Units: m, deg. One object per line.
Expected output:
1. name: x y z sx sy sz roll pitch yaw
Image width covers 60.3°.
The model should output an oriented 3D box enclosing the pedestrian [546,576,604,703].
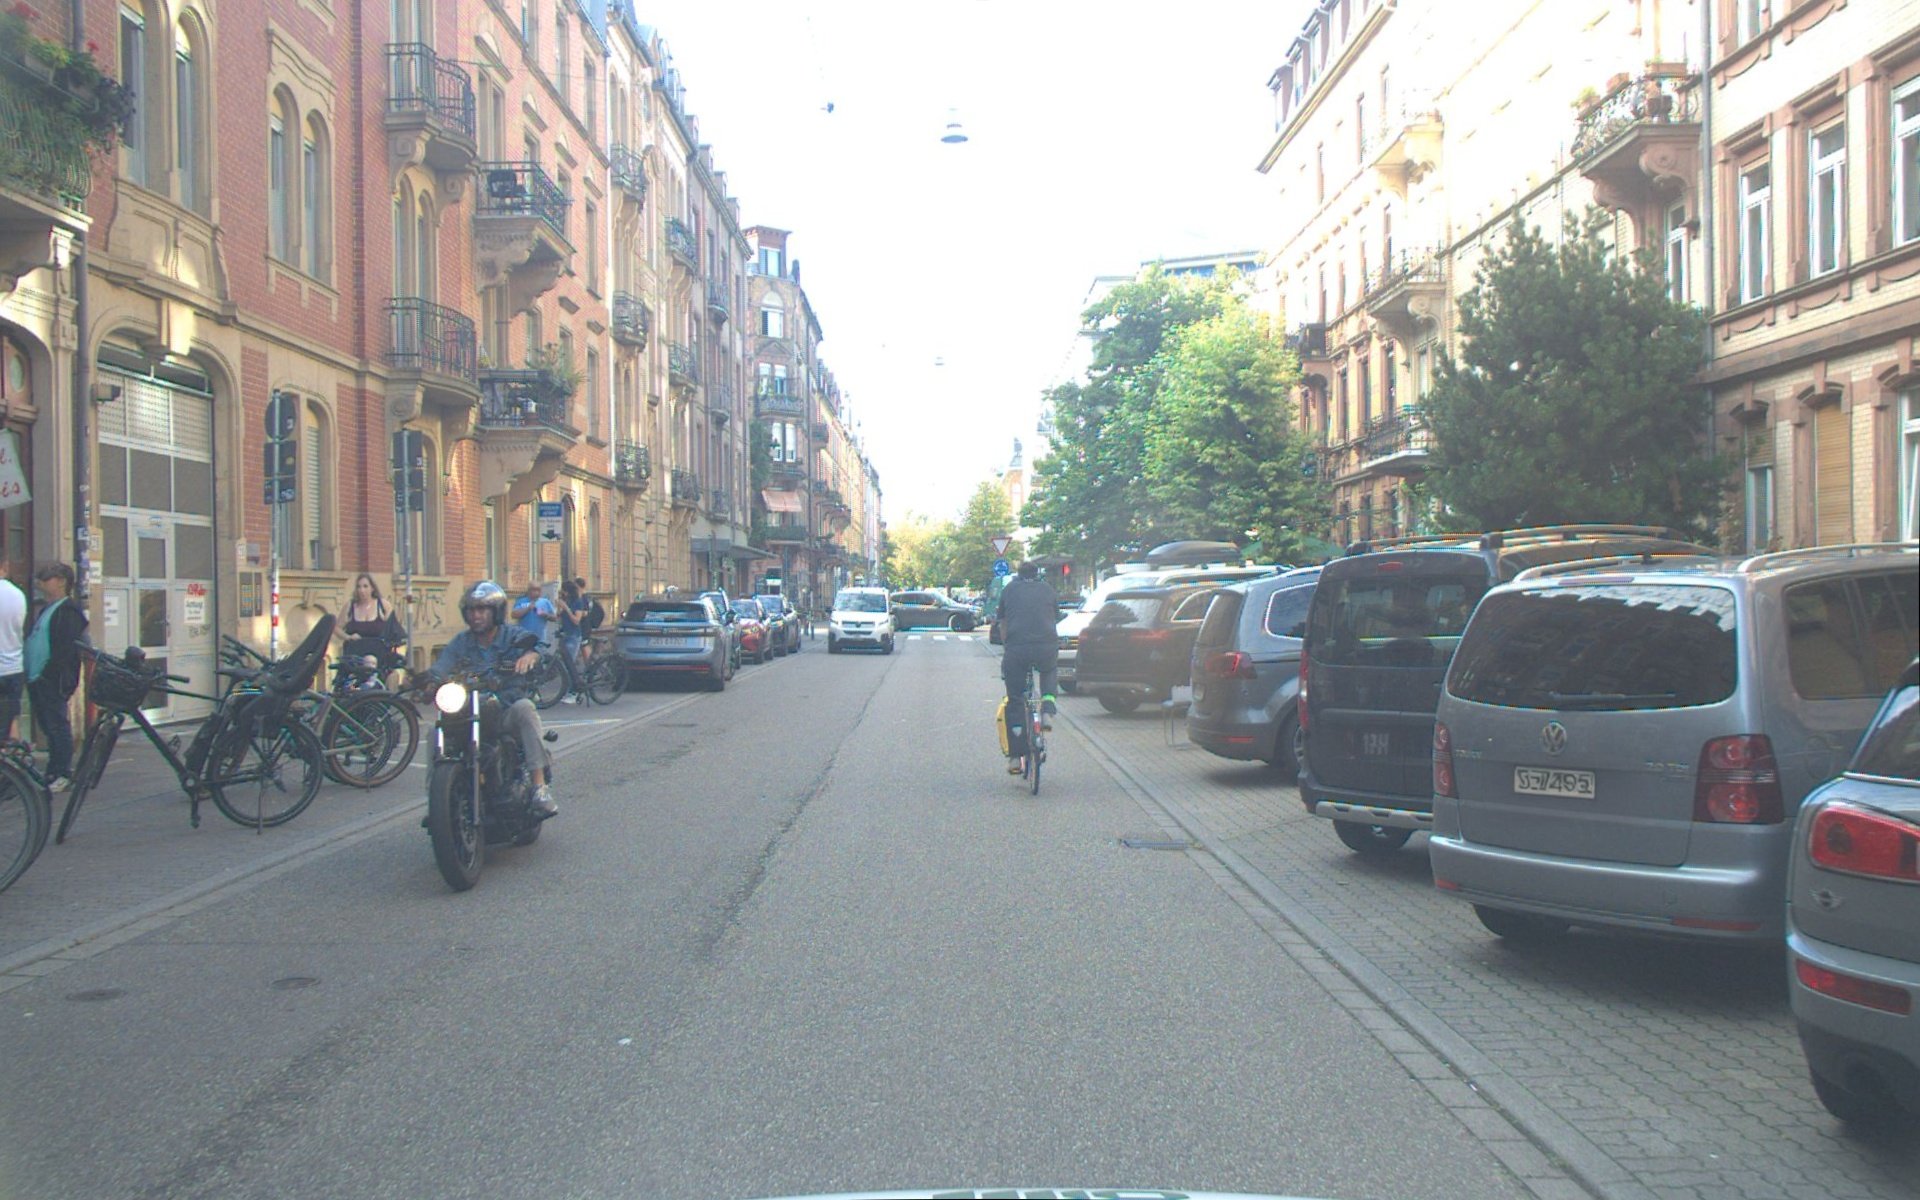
1. pedestrian: -5.387 0.540 23.119 0.559 1.739 0.659 1 0 -36

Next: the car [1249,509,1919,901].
1. car: 3.972 0.465 9.946 4.349 1.854 1.735 -3 0 -33

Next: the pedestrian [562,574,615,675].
1. pedestrian: -6.938 0.454 30.926 0.740 1.840 0.863 1 0 2

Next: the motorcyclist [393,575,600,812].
1. motorcyclist: -2.583 0.506 9.317 0.994 1.267 0.802 1 0 -7

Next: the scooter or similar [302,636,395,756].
1. scooter or similar: -5.781 0.895 15.665 0.594 1.074 0.921 1 0 -6

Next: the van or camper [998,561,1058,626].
1. van or camper: 3.311 -0.301 81.564 2.481 3.090 4.456 -1 0 -3

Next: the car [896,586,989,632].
1. car: -0.755 0.377 71.037 3.906 1.915 1.999 1 0 -2

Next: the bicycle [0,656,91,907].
1. bicycle: -5.001 0.847 7.596 1.720 1.140 0.548 1 0 -38

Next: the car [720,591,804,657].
1. car: -5.318 0.625 44.935 1.754 1.657 4.846 -1 0 -1

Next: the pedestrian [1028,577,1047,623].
1. pedestrian: 3.056 0.001 65.202 0.615 1.769 0.776 -1 0 11

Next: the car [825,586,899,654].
1. car: -2.774 0.558 47.716 1.878 1.860 4.437 1 0 0

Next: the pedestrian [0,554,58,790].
1. pedestrian: -7.350 0.522 12.476 0.650 1.725 0.763 1 0 -1

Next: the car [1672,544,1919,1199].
1. car: 3.946 0.574 4.720 3.960 1.575 1.843 -3 1 -38

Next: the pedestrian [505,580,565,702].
1. pedestrian: -5.968 0.566 23.238 0.672 1.690 0.545 1 0 -31

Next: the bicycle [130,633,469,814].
1. bicycle: -4.835 0.854 12.282 0.792 1.179 2.261 1 0 36

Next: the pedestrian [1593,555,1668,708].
1. pedestrian: 7.514 0.348 18.549 0.561 1.688 0.632 1 0 -1

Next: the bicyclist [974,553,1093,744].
1. bicyclist: 0.590 0.386 13.539 0.914 1.510 0.747 1 0 -1

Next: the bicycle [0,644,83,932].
1. bicycle: -4.763 0.812 7.014 1.772 1.221 0.583 1 0 -38

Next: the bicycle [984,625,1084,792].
1. bicycle: 0.564 0.820 13.459 0.652 1.198 2.496 1 0 -1

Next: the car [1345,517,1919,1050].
1. car: 3.807 0.564 7.350 3.949 1.771 1.819 -2 0 -32

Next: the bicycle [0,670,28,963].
1. bicycle: -4.541 0.867 6.402 1.554 1.140 0.583 1 0 -38

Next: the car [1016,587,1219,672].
1. car: 3.497 0.599 36.195 4.430 1.502 1.861 -4 2 -41

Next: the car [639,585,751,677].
1. car: -5.321 0.575 33.725 1.836 1.710 4.890 1 1 -4

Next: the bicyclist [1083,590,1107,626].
1. bicyclist: 6.421 0.387 78.463 0.780 1.695 0.847 1 0 -33

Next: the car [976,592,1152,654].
1. car: 2.996 0.629 47.510 4.702 1.482 2.037 -3 2 -29

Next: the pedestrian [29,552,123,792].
1. pedestrian: -6.562 0.516 12.270 0.558 1.725 0.640 1 0 -32

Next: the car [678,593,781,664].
1. car: -5.426 0.656 39.460 1.953 1.572 4.425 -1 0 -2

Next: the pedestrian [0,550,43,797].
1. pedestrian: -6.911 0.508 11.746 0.657 1.725 0.579 1 0 -32

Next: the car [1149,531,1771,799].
1. car: 3.999 0.464 13.719 4.544 1.815 1.809 -3 2 -2

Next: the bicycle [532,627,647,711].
1. bicycle: -4.982 0.909 22.365 0.472 1.078 1.904 1 -1 23

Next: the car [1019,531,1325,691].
1. car: 3.603 0.127 27.671 5.099 2.447 1.895 -2 0 -34

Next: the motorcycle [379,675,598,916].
1. motorcycle: -2.496 0.975 9.057 0.778 1.012 2.495 0 0 -7

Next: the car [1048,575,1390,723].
1. car: 3.474 0.573 21.858 4.408 1.762 1.975 0 0 -36

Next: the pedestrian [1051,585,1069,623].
1. pedestrian: 5.063 0.197 83.908 0.850 1.883 0.613 -1 0 4

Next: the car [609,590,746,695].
1. car: -4.677 0.653 28.081 1.789 1.606 5.259 1 0 -4

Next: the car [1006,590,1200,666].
1. car: 3.416 0.629 39.097 4.419 1.490 1.856 -3 2 -36

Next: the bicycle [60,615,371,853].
1. bicycle: -4.534 0.772 10.132 1.659 1.345 0.521 1 0 -37

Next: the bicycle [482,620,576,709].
1. bicycle: -5.718 0.834 22.031 0.482 1.114 1.906 1 0 8

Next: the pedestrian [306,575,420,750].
1. pedestrian: -5.909 0.606 16.419 0.894 1.690 0.826 1 0 -9
